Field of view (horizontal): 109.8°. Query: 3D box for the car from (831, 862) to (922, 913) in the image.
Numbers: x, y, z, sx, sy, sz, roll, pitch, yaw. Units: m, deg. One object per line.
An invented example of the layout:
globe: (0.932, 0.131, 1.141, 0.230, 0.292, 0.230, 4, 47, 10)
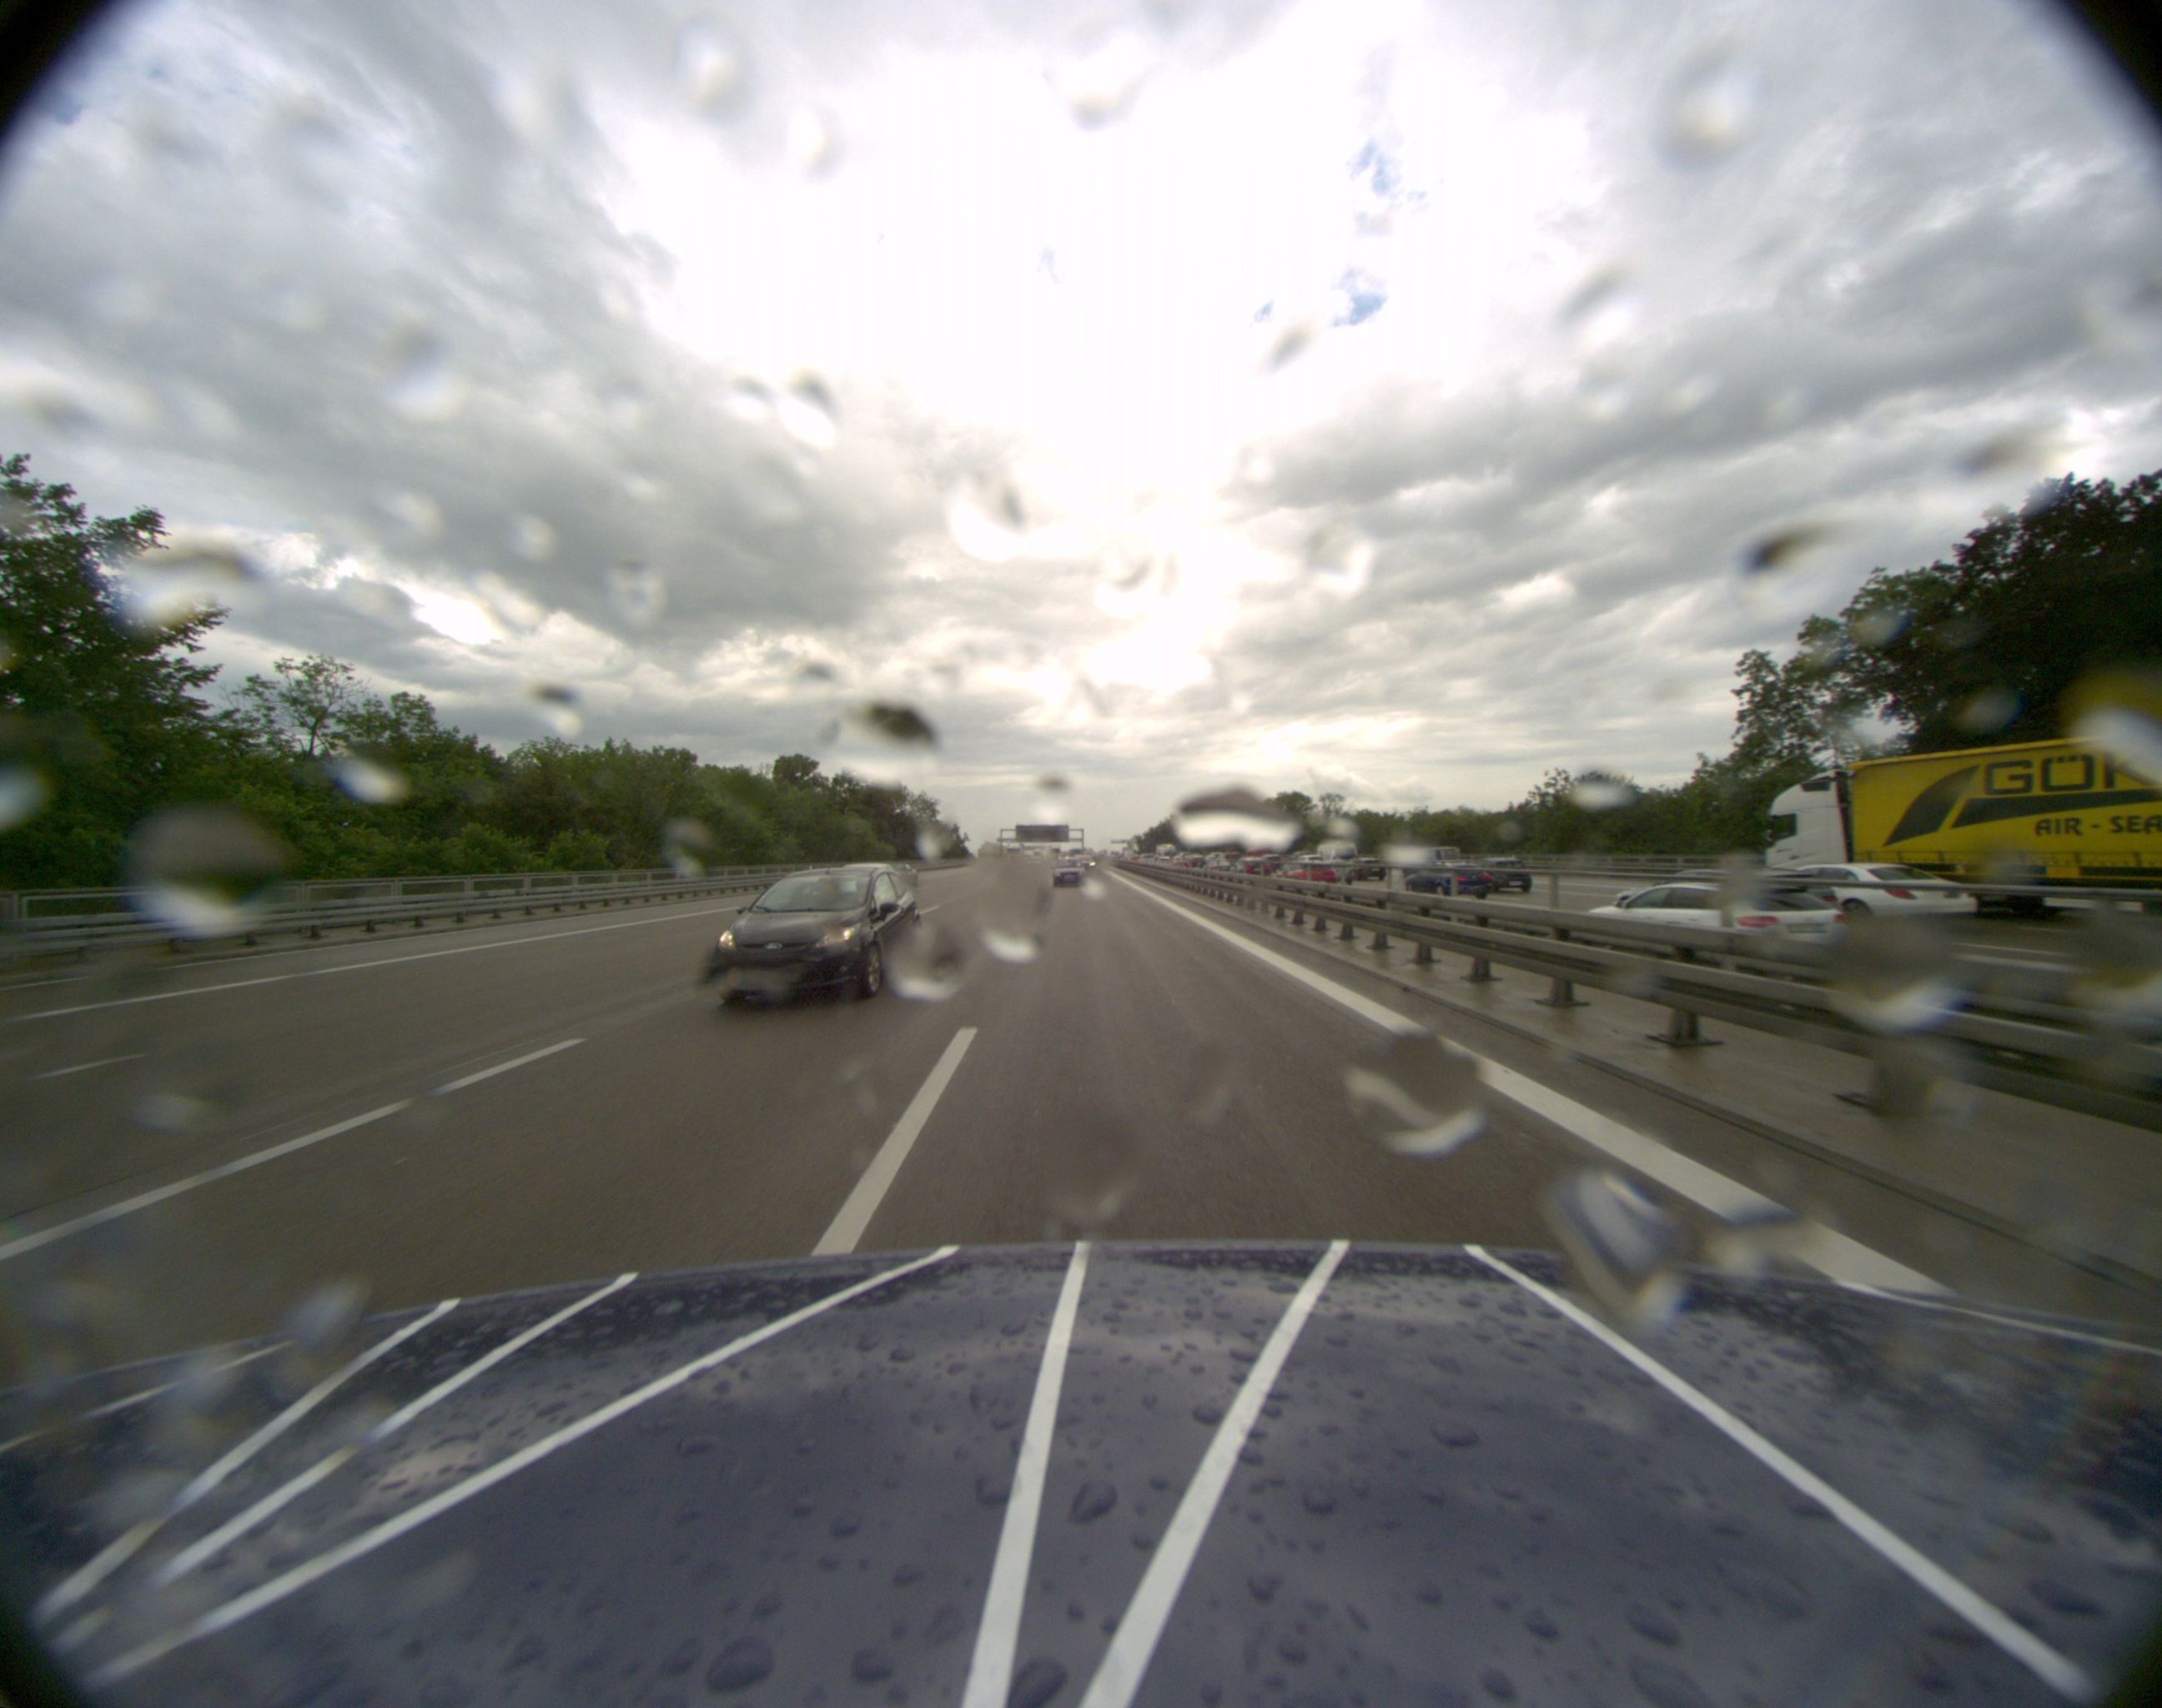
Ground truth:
car: (-6.623, 1.028, 25.053, 1.898, 1.438, 4.245, -1, 0, -2)

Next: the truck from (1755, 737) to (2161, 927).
truck: (22.786, -0.510, 20.424, 3.256, 4.225, 6.881, -1, 0, 0)

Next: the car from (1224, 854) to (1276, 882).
car: (10.536, 0.817, 47.750, 1.872, 1.660, 5.172, -1, 0, -2)

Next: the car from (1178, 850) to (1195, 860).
car: (17.590, 0.166, 126.753, 1.999, 1.698, 3.999, -1, 0, -2)

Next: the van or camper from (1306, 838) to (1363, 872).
van or camper: (21.938, 0.095, 66.127, 2.207, 2.749, 7.229, -1, 0, -2)

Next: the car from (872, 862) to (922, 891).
car: (-10.158, 1.193, 42.292, 1.781, 1.438, 4.587, -1, 0, -1)

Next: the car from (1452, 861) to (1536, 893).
car: (18.523, 0.997, 34.273, 1.451, 1.293, 3.999, -1, 0, -3)

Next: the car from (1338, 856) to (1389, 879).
car: (18.305, 0.859, 49.364, 1.638, 1.410, 3.999, -1, 0, -3)

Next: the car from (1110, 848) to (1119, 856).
car: (8.214, -0.500, 187.522, 1.859, 1.974, 5.036, -1, 0, -2)

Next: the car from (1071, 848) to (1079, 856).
car: (-1.506, -0.579, 195.378, 1.999, 2.002, 3.507, -2, 0, -1)

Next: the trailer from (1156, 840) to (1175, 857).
trailer: (19.705, -1.261, 177.498, 2.468, 3.935, 13.217, -1, 0, -1)

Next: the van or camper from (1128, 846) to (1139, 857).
van or camper: (12.786, -0.575, 186.758, 2.039, 2.589, 7.456, -1, 0, -1)

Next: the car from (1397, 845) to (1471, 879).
car: (22.139, 0.486, 47.932, 1.999, 2.002, 5.411, -1, 0, -2)

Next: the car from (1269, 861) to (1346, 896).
car: (10.613, 1.098, 35.996, 2.000, 1.454, 4.840, -1, 0, -2)

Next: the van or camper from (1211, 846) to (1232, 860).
van or camper: (22.399, -0.169, 121.512, 2.051, 2.316, 5.933, -1, 0, -1)

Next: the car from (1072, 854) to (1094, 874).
car: (0.211, 0.822, 64.688, 1.751, 1.489, 4.015, -1, 1, 1)

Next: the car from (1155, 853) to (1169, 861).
car: (14.093, 0.521, 132.771, 1.837, 1.466, 4.032, -1, 0, -2)

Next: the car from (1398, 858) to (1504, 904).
car: (14.509, 1.003, 30.118, 1.784, 1.602, 4.576, -1, 0, -3)

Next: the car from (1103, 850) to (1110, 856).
car: (7.160, -0.273, 212.968, 1.674, 1.497, 3.999, -1, 0, -2)

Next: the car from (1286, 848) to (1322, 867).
car: (22.656, 0.330, 77.494, 2.082, 1.934, 4.758, -1, 0, -2)

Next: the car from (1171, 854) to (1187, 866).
car: (13.982, 0.888, 108.463, 1.681, 1.626, 3.999, -1, 0, -2)

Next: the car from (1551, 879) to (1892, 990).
car: (10.563, 1.216, 13.171, 1.767, 1.375, 4.819, -1, 0, -2)

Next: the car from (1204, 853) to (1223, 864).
car: (18.066, 0.627, 103.888, 1.795, 1.492, 3.999, -1, 0, -3)

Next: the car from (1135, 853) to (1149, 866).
car: (10.034, 0.887, 125.088, 1.953, 1.937, 4.725, -1, 0, 0)

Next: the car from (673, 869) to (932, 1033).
car: (-3.160, 0.993, 9.655, 1.668, 1.431, 4.404, -1, 1, -1)

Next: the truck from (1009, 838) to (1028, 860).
truck: (-12.167, -0.951, 148.861, 3.255, 3.884, 12.310, -2, 0, -3)

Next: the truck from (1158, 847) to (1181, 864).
truck: (13.879, 0.212, 119.809, 2.152, 2.587, 8.754, -1, 0, -2)

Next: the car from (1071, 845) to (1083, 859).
car: (-0.778, -0.421, 132.488, 1.999, 2.354, 4.171, -2, 0, 0)

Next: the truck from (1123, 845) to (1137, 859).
truck: (14.731, -0.644, 229.389, 3.267, 4.267, 10.866, -1, 0, -1)

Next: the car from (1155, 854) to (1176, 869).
car: (10.353, 0.893, 92.884, 1.830, 1.665, 5.357, -1, 0, -1)

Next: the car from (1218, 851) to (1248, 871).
car: (14.607, 0.649, 73.343, 1.897, 1.891, 5.001, -1, 0, 1)

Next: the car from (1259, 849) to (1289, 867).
car: (18.460, 0.381, 72.772, 1.914, 1.635, 4.000, -1, 0, 1)

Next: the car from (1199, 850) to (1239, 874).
car: (10.827, 0.616, 59.981, 1.871, 1.816, 5.707, -1, 0, -2)

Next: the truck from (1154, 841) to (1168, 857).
truck: (19.501, -1.229, 185.762, 2.468, 3.942, 6.981, -1, 0, -1)

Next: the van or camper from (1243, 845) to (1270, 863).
van or camper: (22.286, -0.002, 96.788, 1.945, 2.291, 6.233, -1, 0, -1)

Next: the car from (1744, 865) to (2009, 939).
car: (18.143, 1.021, 17.665, 1.828, 1.429, 4.051, -1, 0, -3)

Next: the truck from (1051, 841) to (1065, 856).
truck: (-6.060, -1.413, 196.499, 2.958, 3.777, 12.323, -2, 0, -4)

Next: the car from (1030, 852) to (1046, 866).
car: (-5.858, 0.674, 103.509, 1.962, 1.831, 3.999, -1, 1, -2)

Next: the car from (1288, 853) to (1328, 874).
car: (18.286, 0.743, 61.438, 1.732, 1.603, 4.462, -1, 0, -3)

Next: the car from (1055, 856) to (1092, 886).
car: (-0.425, 0.831, 39.125, 1.781, 1.399, 5.015, -1, 0, -1)

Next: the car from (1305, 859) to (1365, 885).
car: (14.782, 1.009, 44.497, 1.821, 1.417, 4.475, -1, 0, -3)

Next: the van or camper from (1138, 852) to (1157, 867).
van or camper: (9.614, 0.818, 109.852, 1.989, 2.056, 5.641, -1, 0, -2)

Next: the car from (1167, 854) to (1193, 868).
car: (10.500, 0.734, 81.112, 1.879, 1.384, 5.363, -1, 0, -2)

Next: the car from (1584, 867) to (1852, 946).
car: (14.602, 1.099, 17.964, 1.813, 1.471, 5.219, -1, 0, -3)

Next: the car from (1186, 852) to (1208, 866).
car: (14.274, 0.606, 93.822, 1.681, 1.401, 5.012, 1, 3, -2)

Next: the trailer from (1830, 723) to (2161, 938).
trailer: (22.774, -0.473, 14.183, 3.256, 4.203, 14.508, -1, 0, 0)
